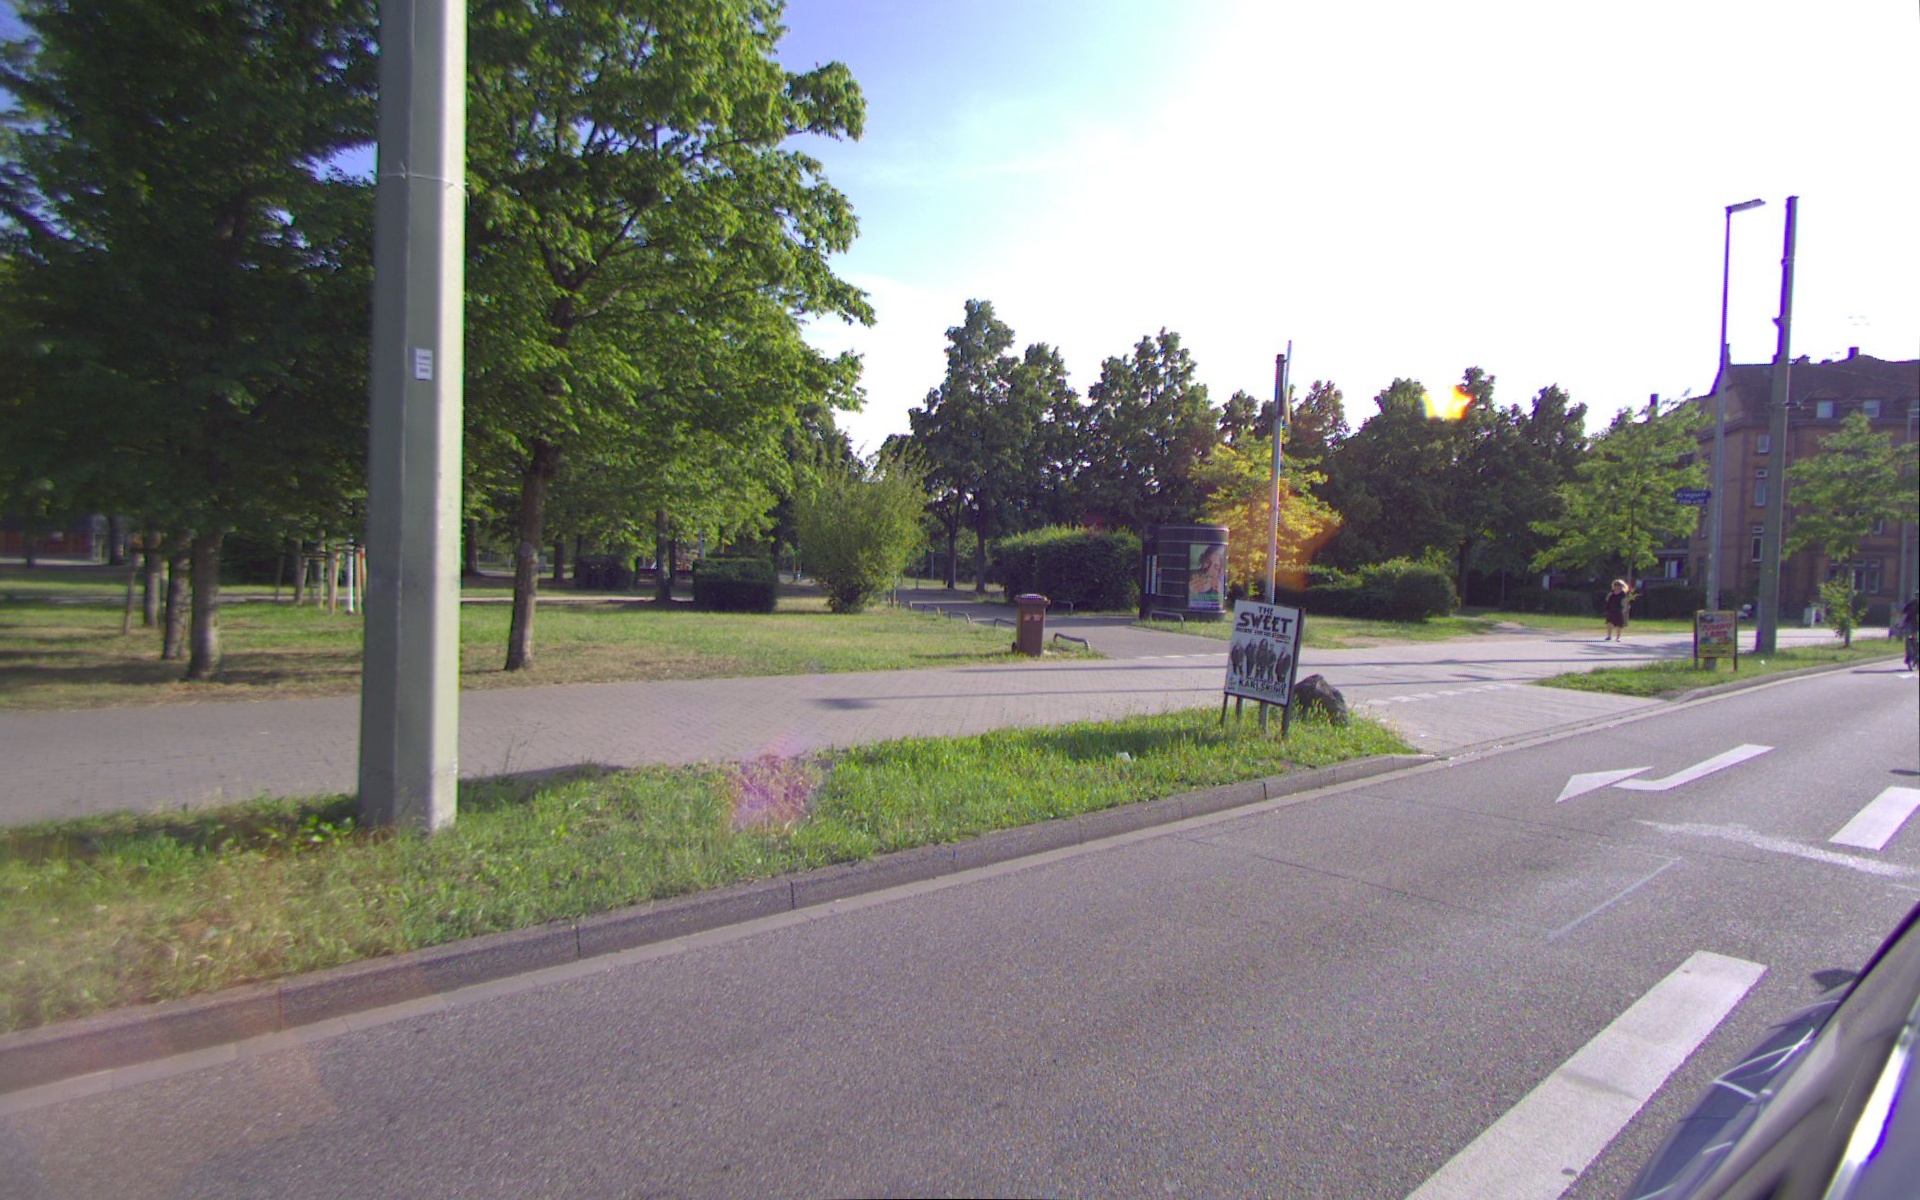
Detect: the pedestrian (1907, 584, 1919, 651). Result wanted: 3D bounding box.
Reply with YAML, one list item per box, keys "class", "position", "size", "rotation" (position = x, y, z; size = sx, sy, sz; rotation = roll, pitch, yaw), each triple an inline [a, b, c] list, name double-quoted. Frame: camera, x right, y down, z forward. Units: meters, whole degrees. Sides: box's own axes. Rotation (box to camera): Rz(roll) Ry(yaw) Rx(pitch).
- class: "pedestrian"
  position: [22.231, 0.394, 23.224]
  size: [0.830, 1.540, 0.636]
  rotation: [0, 0, -41]

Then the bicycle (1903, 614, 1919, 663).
- class: "bicycle"
  position: [22.194, 0.866, 23.203]
  size: [1.946, 1.059, 0.651]
  rotation: [-1, 0, -41]

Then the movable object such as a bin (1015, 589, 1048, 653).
- class: "movable object such as a bin"
  position: [1.081, 0.308, 15.405]
  size: [0.447, 0.929, 0.605]
  rotation: [2, 2, 1]

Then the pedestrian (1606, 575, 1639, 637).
- class: "pedestrian"
  position: [18.556, 0.151, 28.348]
  size: [0.607, 1.706, 0.621]
  rotation: [1, 0, -40]
